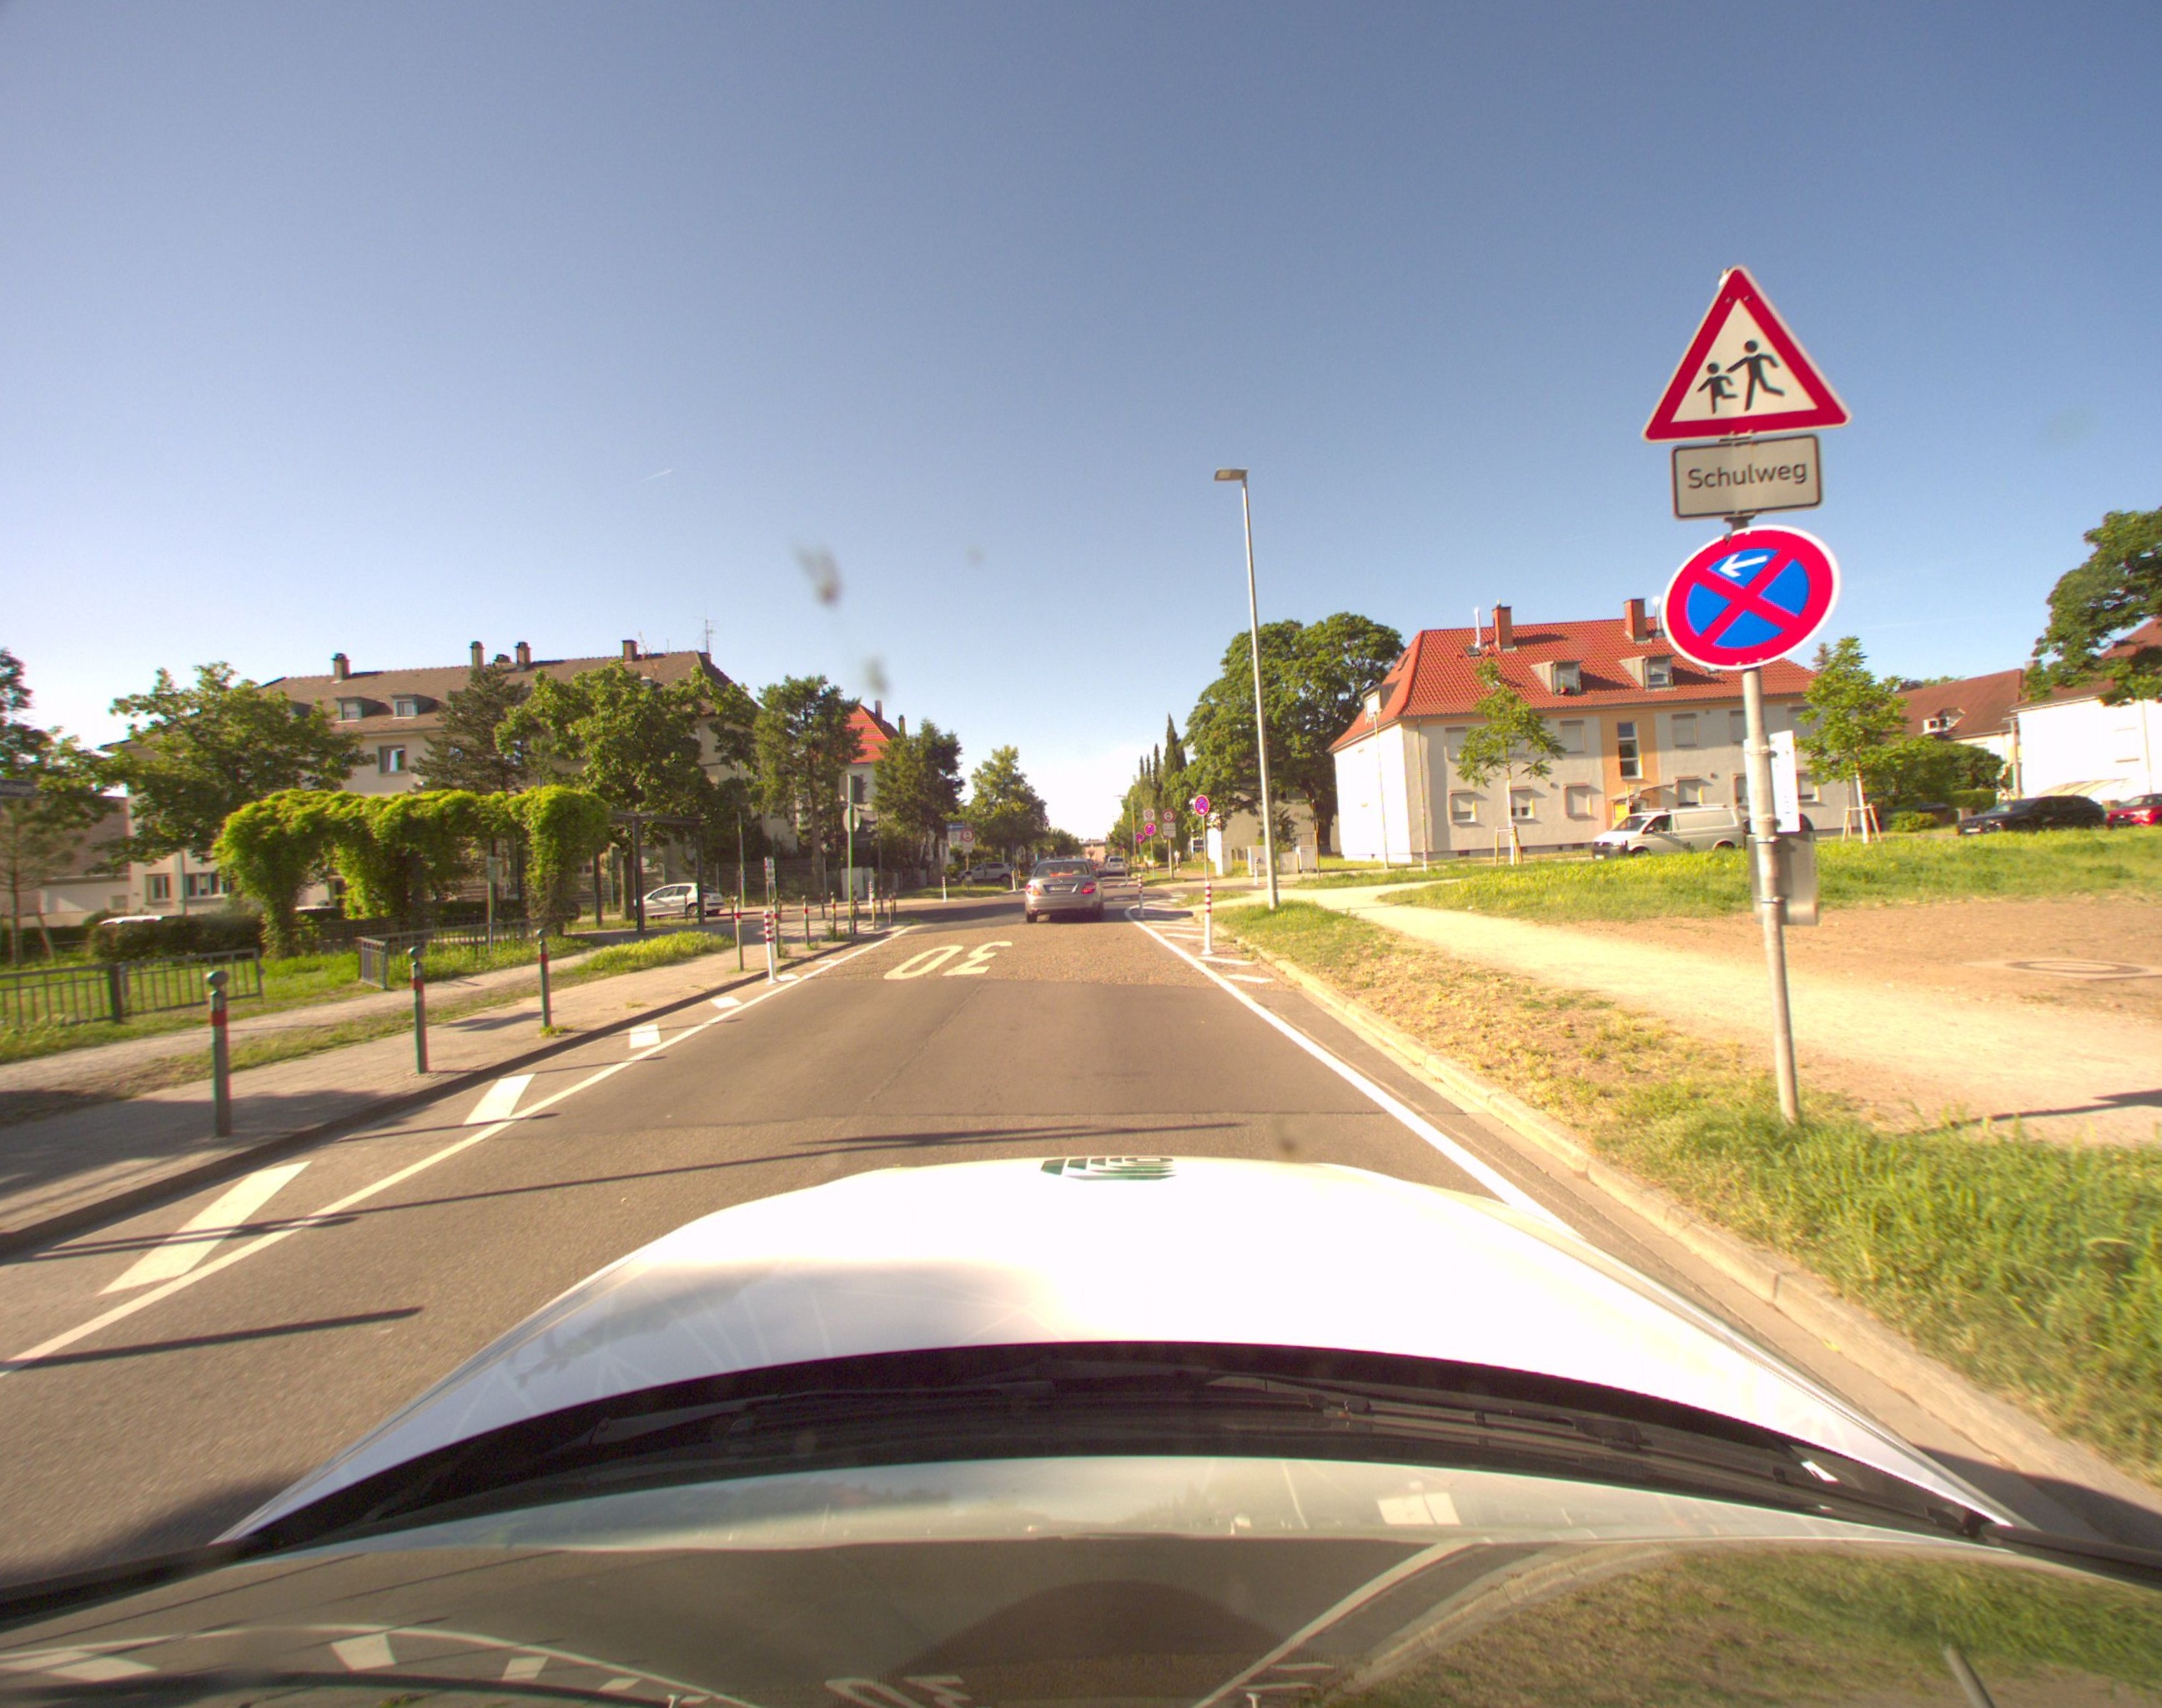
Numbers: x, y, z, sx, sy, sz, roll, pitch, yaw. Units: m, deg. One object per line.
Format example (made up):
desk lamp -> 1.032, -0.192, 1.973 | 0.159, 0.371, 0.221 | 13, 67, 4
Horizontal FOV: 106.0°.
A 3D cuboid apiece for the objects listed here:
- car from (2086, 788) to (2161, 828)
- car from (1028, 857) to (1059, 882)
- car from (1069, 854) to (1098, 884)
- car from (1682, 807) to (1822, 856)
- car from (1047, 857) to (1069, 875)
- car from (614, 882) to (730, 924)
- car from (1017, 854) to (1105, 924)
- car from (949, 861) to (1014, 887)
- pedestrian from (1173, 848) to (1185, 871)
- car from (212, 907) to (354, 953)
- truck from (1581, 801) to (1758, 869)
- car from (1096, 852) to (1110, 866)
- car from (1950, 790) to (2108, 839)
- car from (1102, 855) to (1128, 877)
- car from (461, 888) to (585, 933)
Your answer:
car -> 42.893, -1.905, 32.177 | 4.112, 1.441, 1.722 | -4, 0, 1
car -> -2.763, 1.127, 60.491 | 1.988, 1.609, 3.998 | -7, 0, -1
car -> 0.127, 0.884, 48.275 | 1.592, 1.609, 3.642 | -4, 0, -1
car -> 26.472, -0.868, 32.234 | 4.036, 1.664, 1.722 | -4, 0, 1
car -> -2.319, 1.190, 83.929 | 1.988, 1.609, 3.998 | -7, 0, -1
car -> -16.563, 1.956, 33.105 | 3.751, 1.398, 1.707 | -4, -1, 0
car -> -0.384, 0.775, 19.900 | 1.829, 1.441, 4.002 | -3, 0, 2
car -> -6.722, 1.325, 55.352 | 4.181, 1.564, 1.840 | -3, 0, -2
pedestrian -> 7.086, 0.402, 58.961 | 0.762, 1.611, 0.835 | -4, -1, 6
car -> -32.508, 3.066, 33.262 | 3.973, 1.494, 1.801 | -4, -1, 1
truck -> 21.153, -0.662, 29.425 | 4.841, 2.036, 2.000 | -4, 0, 1
car -> 3.163, 0.723, 118.632 | 1.848, 1.841, 4.000 | -4, 0, 1
car -> 37.219, -1.526, 32.052 | 4.112, 1.583, 1.722 | -4, 0, 1
car -> 2.600, 0.900, 62.766 | 1.728, 1.479, 3.723 | -4, 0, -1
car -> -22.524, 2.276, 32.955 | 3.800, 1.494, 1.677 | -4, -1, 1
